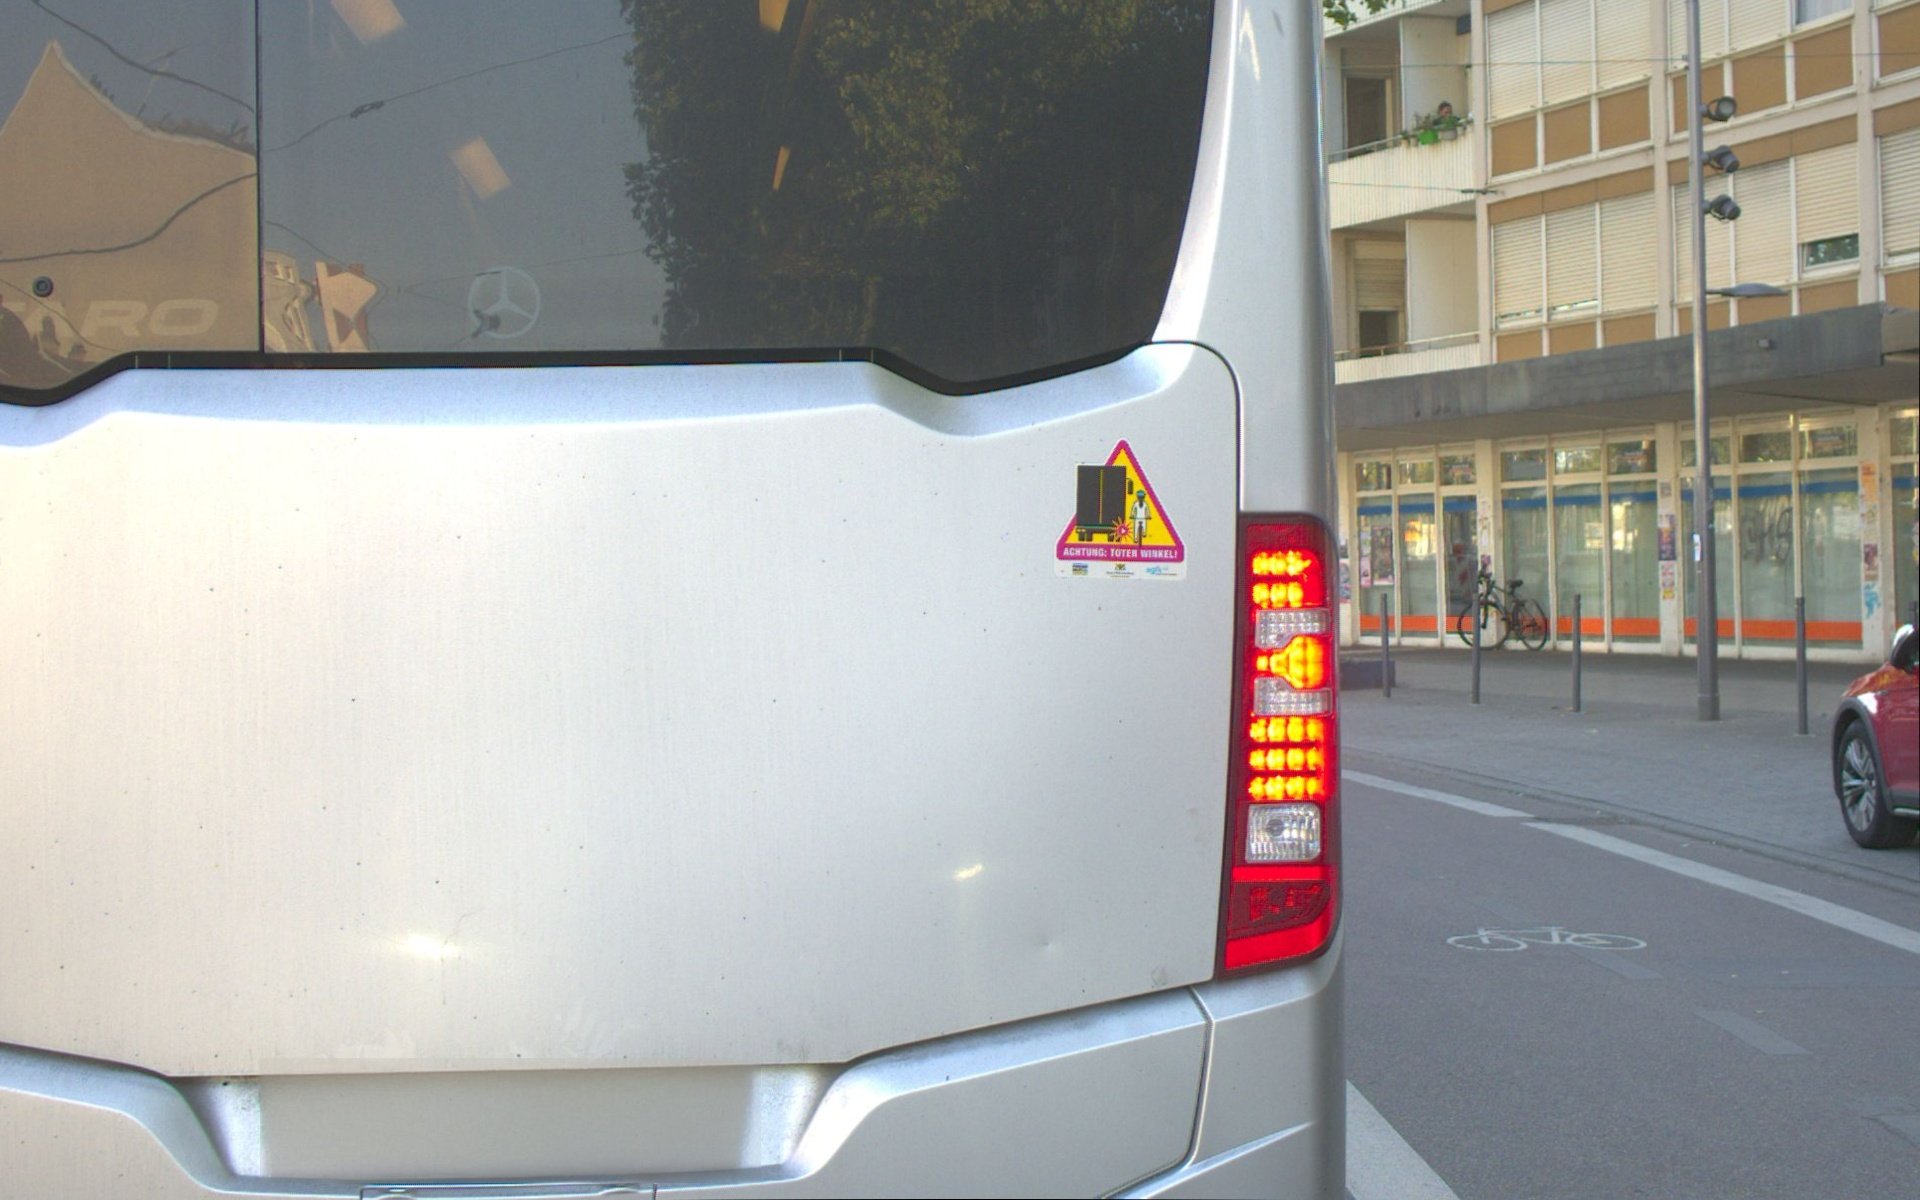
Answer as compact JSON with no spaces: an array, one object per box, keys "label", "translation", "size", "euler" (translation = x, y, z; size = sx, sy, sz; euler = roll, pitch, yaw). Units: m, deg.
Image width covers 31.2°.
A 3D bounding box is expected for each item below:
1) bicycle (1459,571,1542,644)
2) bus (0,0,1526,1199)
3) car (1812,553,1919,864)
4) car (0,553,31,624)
[{"label":"bicycle","translation":[7.154,0.090,45.536],"size":[0.412,0.941,1.441],"euler":[-1,1,-20]},{"label":"bus","translation":[-0.726,-0.144,9.788],"size":[2.630,3.017,9.998],"euler":[0,1,-2]},{"label":"car","translation":[5.516,0.504,15.876],"size":[1.769,1.477,4.304],"euler":[-2,1,-4]},{"label":"car","translation":[-25.598,-0.299,87.915],"size":[1.994,1.785,3.998],"euler":[1,0,-41]}]
